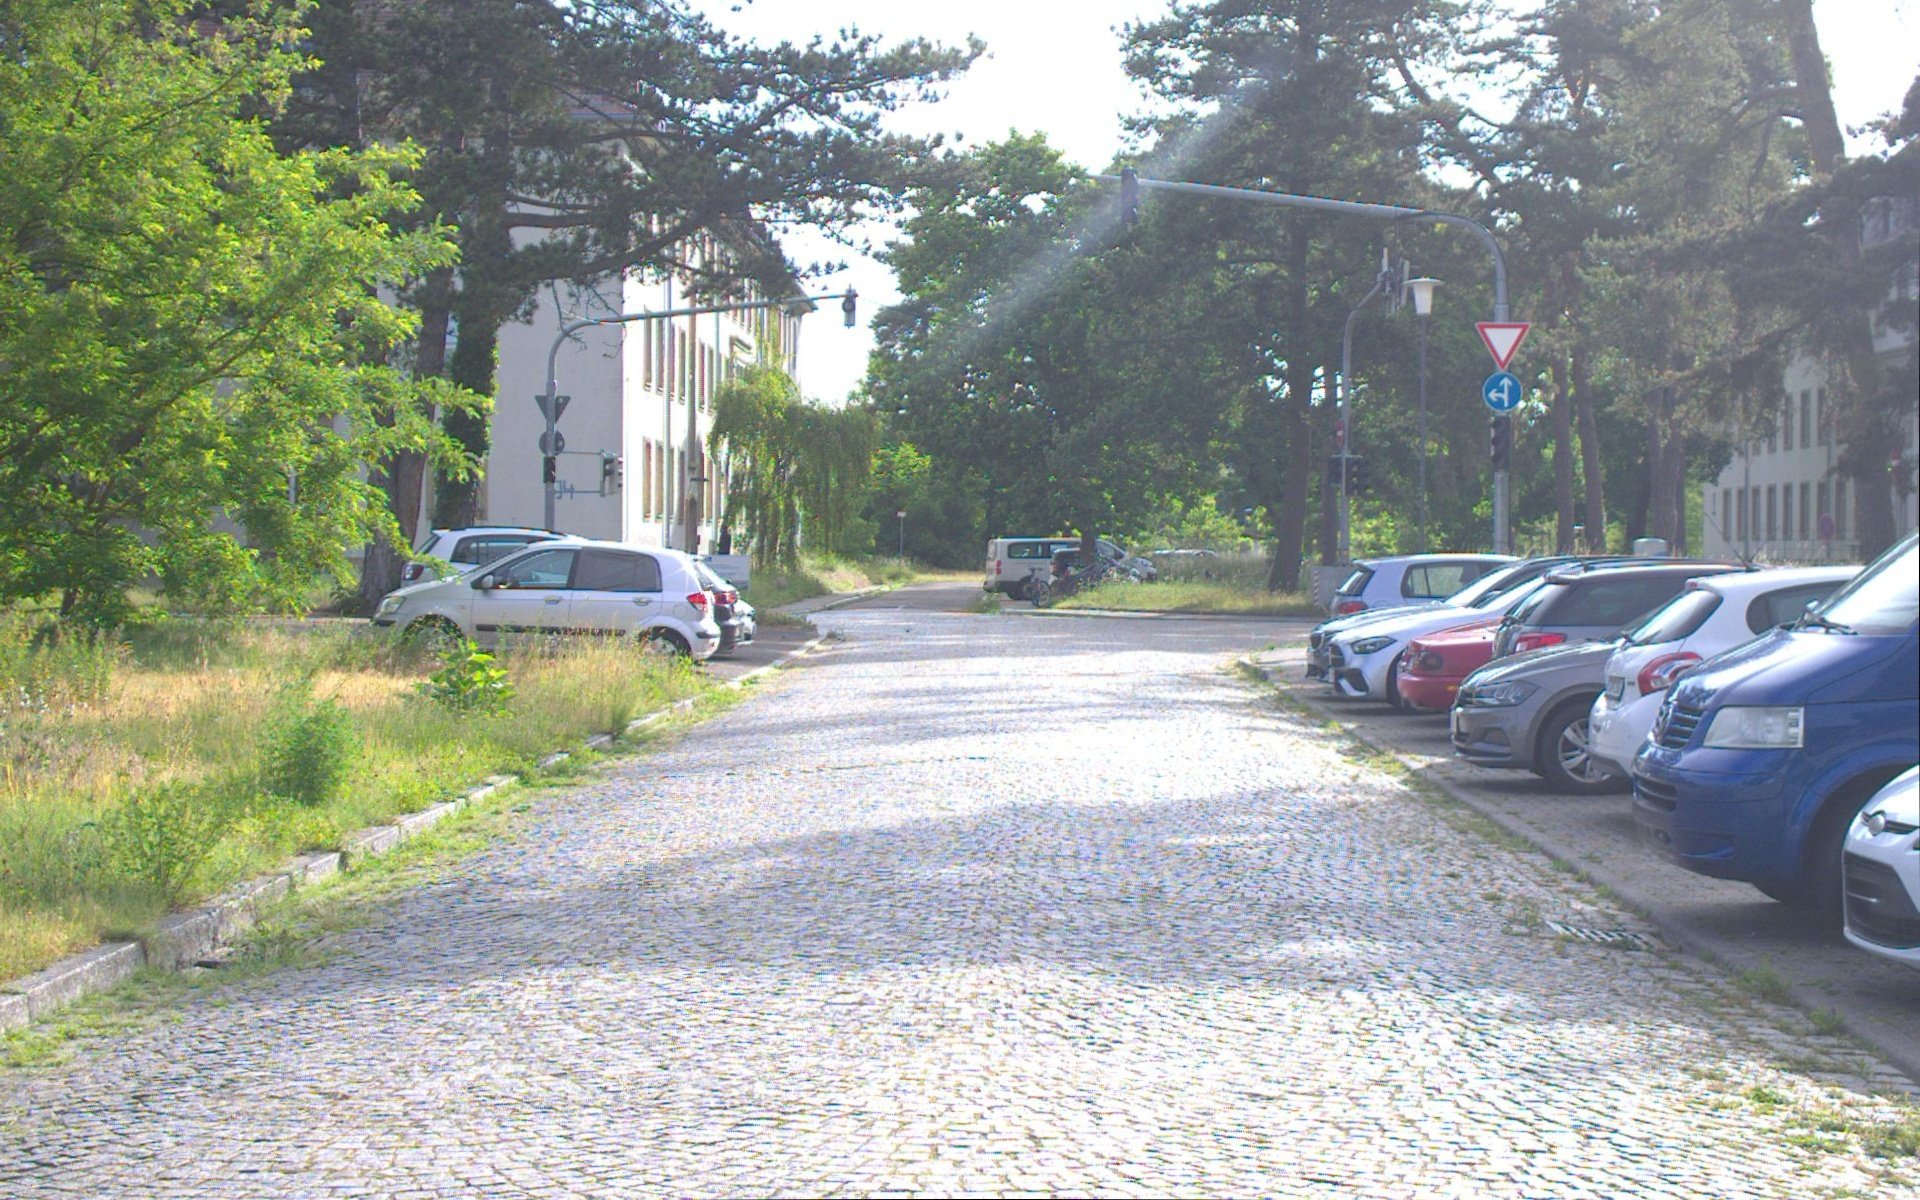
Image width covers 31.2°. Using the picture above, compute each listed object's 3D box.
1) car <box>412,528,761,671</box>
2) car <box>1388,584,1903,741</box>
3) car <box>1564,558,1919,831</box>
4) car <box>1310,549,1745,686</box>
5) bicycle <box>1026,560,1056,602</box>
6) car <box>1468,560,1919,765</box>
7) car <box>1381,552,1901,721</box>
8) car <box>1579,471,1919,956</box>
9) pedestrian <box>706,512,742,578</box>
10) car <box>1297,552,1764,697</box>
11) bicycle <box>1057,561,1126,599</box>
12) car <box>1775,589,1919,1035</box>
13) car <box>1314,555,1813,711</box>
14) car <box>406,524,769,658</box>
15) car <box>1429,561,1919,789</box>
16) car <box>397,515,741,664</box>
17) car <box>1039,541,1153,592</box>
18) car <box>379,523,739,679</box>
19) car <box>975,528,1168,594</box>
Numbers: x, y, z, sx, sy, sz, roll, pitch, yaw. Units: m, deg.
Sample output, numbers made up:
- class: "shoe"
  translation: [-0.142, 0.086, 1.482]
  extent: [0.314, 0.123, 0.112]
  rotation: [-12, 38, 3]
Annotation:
- class: "car"
  translation: [-4.367, -0.015, 40.588]
  extent: [3.828, 1.424, 1.859]
  rotation: [3, 0, 0]
- class: "car"
  translation: [5.615, 0.503, 28.519]
  extent: [3.951, 1.256, 1.726]
  rotation: [0, 0, 2]
- class: "car"
  translation: [5.615, 0.524, 20.097]
  extent: [3.874, 1.525, 1.808]
  rotation: [0, 0, 2]
- class: "car"
  translation: [6.303, 0.186, 38.555]
  extent: [4.543, 1.500, 1.933]
  rotation: [0, 0, 0]
- class: "bicycle"
  translation: [2.028, -0.487, 86.166]
  extent: [0.728, 0.995, 1.799]
  rotation: [0, 2, 1]
- class: "car"
  translation: [5.910, 0.447, 25.871]
  extent: [3.951, 1.490, 1.772]
  rotation: [0, 0, 2]
- class: "car"
  translation: [6.049, 0.313, 30.885]
  extent: [4.341, 1.468, 1.740]
  rotation: [0, 0, 1]
- class: "car"
  translation: [5.216, 0.407, 14.751]
  extent: [4.733, 1.922, 1.992]
  rotation: [-1, 0, 1]
- class: "pedestrian"
  translation: [-7.016, -1.630, 102.328]
  extent: [0.985, 1.956, 0.933]
  rotation: [1, 0, 1]
- class: "car"
  translation: [5.907, 0.239, 35.939]
  extent: [4.506, 1.468, 1.895]
  rotation: [0, 0, -3]
- class: "bicycle"
  translation: [3.474, -0.533, 90.742]
  extent: [1.793, 0.995, 0.644]
  rotation: [0, 2, 0]
- class: "car"
  translation: [5.226, 0.696, 12.241]
  extent: [4.190, 1.465, 1.808]
  rotation: [0, 0, -2]
- class: "car"
  translation: [5.749, 0.305, 33.163]
  extent: [4.506, 1.468, 1.849]
  rotation: [0, 0, 1]
- class: "car"
  translation: [-4.918, -0.136, 45.839]
  extent: [4.587, 1.450, 1.903]
  rotation: [3, 2, -1]
- class: "car"
  translation: [5.219, 0.475, 22.965]
  extent: [3.951, 1.462, 1.830]
  rotation: [0, 0, 2]
- class: "car"
  translation: [-4.871, -0.137, 43.294]
  extent: [4.121, 1.594, 1.859]
  rotation: [3, 0, -3]
- class: "car"
  translation: [4.028, -0.985, 102.077]
  extent: [3.031, 1.460, 1.720]
  rotation: [1, 0, -11]
- class: "car"
  translation: [-4.374, 0.004, 37.932]
  extent: [3.683, 1.468, 1.850]
  rotation: [3, 0, 0]
- class: "car"
  translation: [3.419, -1.189, 105.658]
  extent: [5.499, 1.909, 2.255]
  rotation: [1, 0, -12]
